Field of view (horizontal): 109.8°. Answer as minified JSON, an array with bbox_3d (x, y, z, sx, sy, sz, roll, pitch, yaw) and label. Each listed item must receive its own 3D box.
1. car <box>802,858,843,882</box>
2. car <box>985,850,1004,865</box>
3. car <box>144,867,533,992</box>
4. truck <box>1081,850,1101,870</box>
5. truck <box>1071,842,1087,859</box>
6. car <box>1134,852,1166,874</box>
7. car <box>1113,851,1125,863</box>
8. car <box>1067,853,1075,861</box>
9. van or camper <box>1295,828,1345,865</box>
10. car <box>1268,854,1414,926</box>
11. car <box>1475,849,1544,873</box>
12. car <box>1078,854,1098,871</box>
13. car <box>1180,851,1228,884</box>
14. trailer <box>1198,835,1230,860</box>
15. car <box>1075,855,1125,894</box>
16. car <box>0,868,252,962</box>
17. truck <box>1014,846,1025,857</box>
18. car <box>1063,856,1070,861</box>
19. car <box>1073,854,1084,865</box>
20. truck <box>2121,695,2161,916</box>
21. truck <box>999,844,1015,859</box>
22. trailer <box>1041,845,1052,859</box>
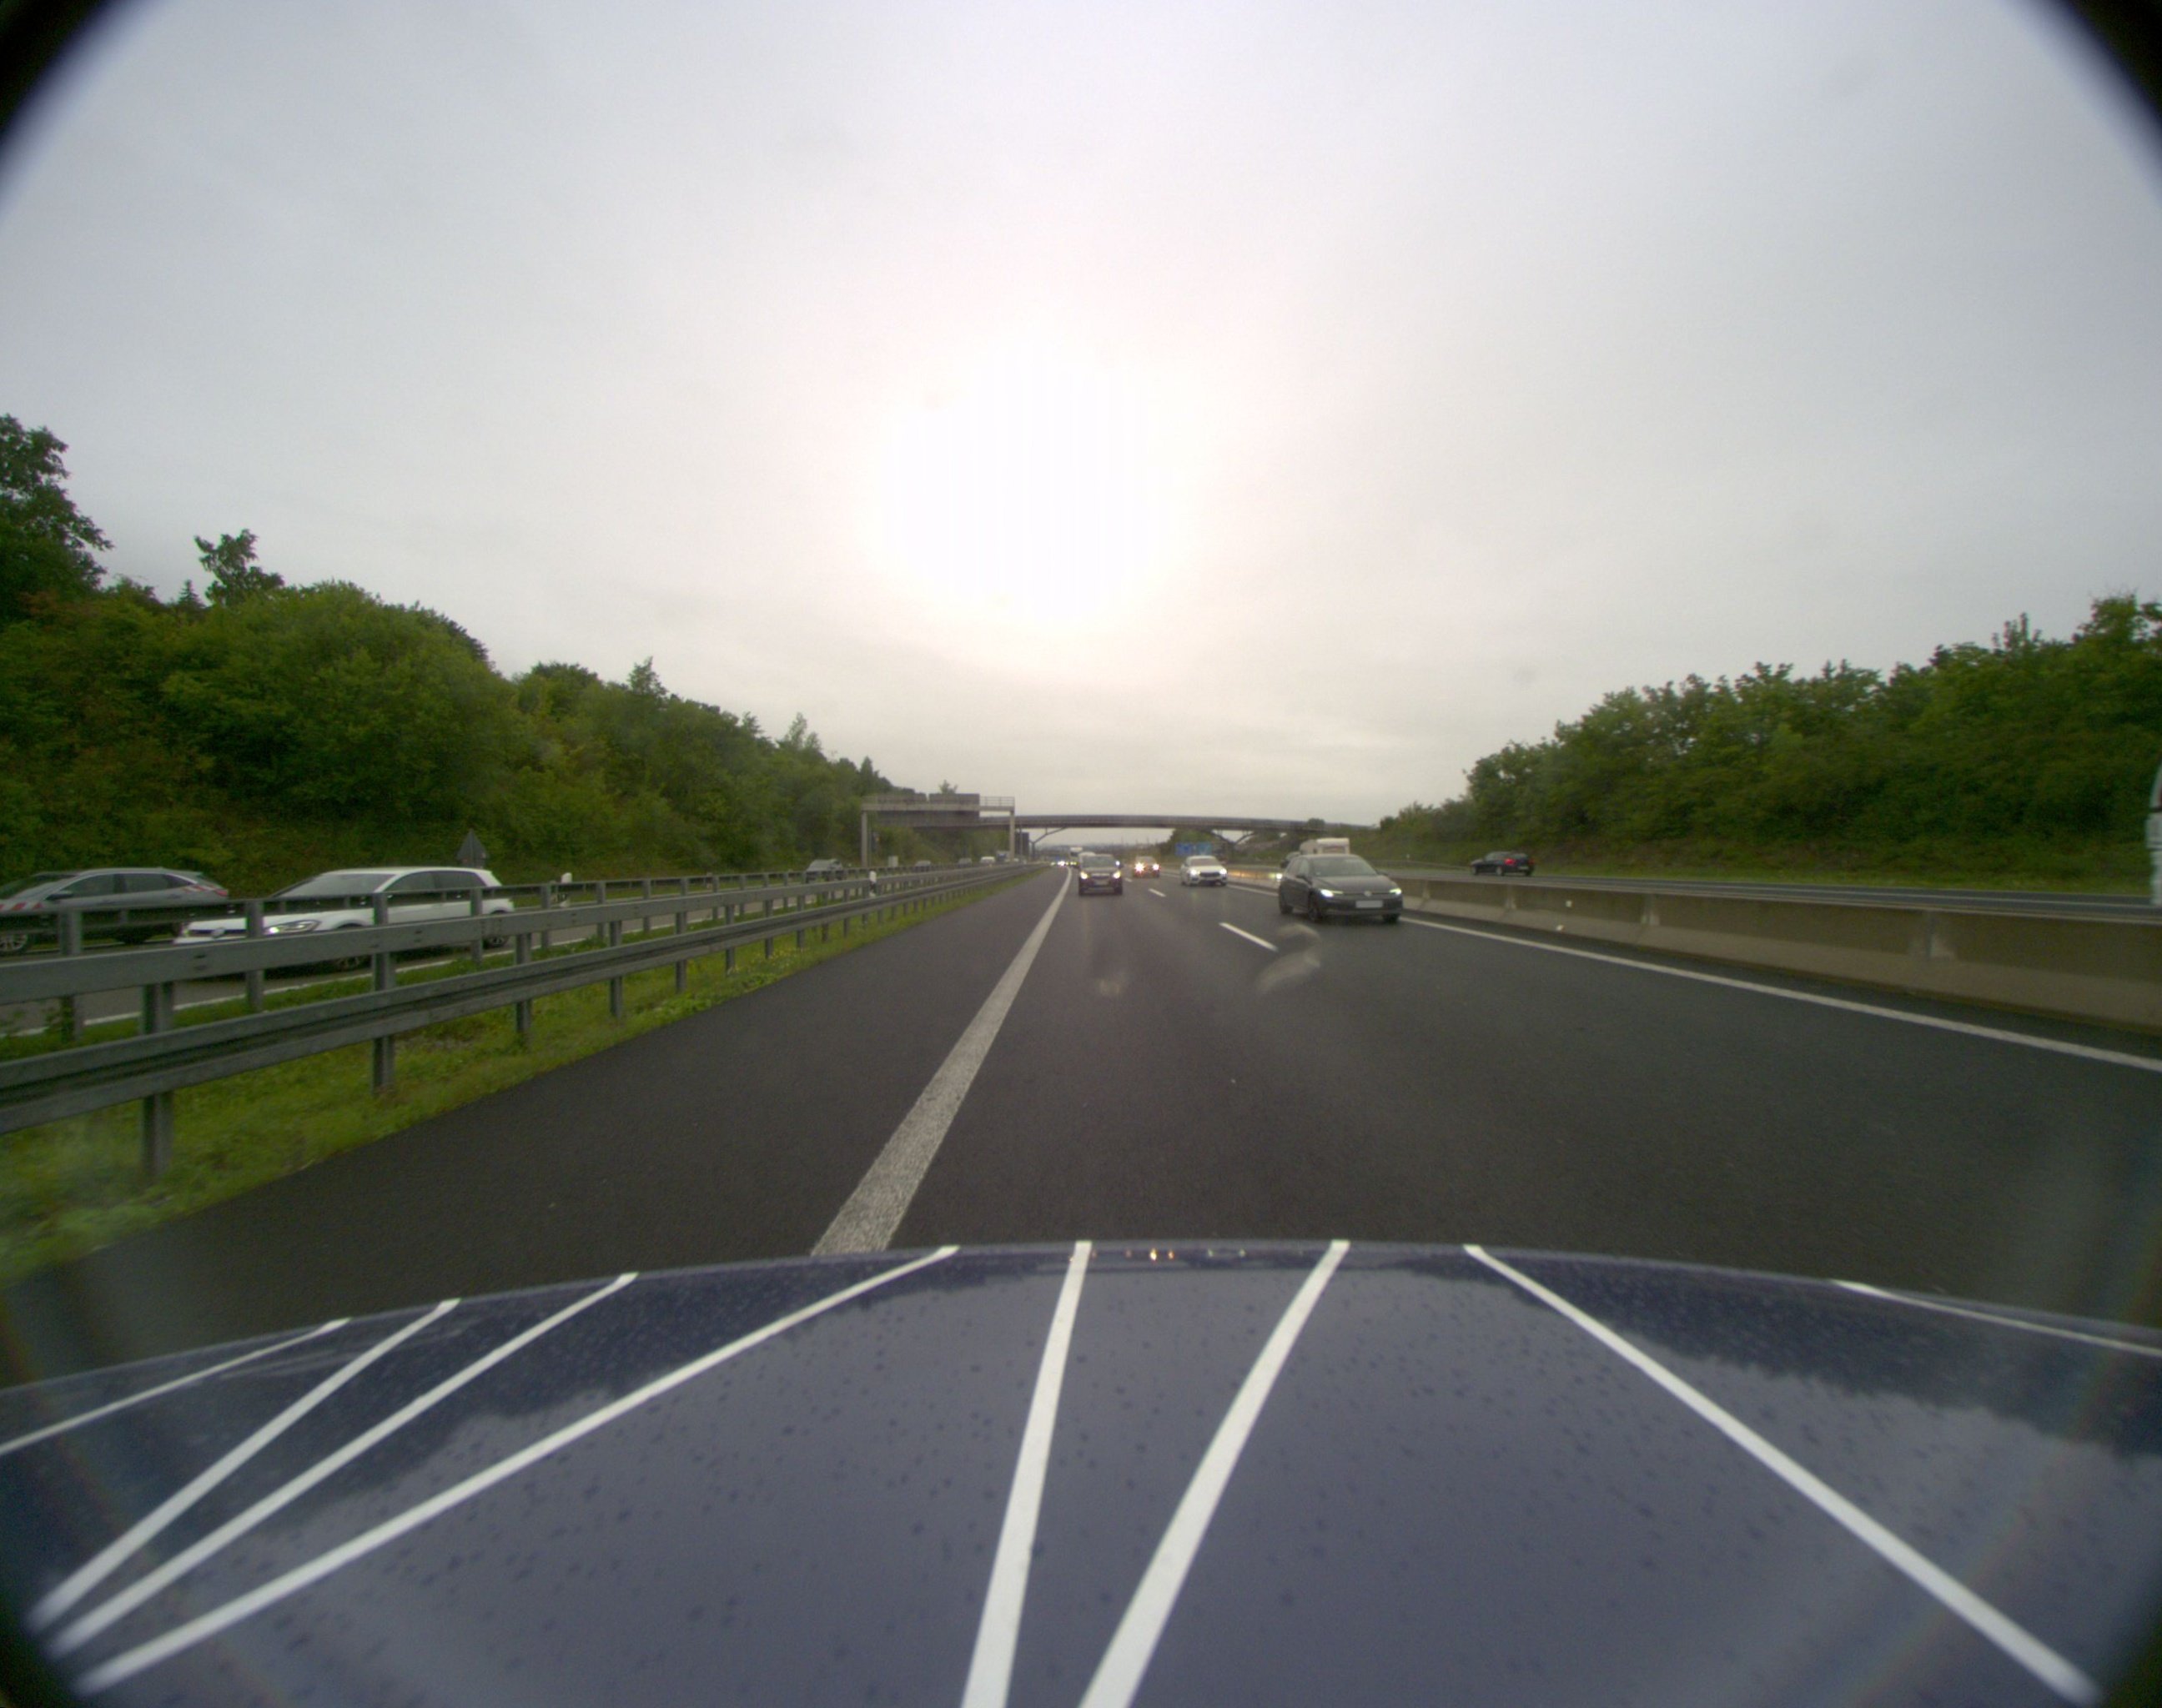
[{"bbox_3d":[-18.531,1.108,54.693,1.865,1.573,4.237,-1,1,-6],"label":"car"},{"bbox_3d":[-11.054,0.411,97.220,1.864,1.795,4.647,-1,1,0],"label":"car"},{"bbox_3d":[-10.940,0.995,11.741,1.864,1.439,4.157,-1,1,0],"label":"car"},{"bbox_3d":[1.071,0.623,86.621,2.175,2.214,5.641,-1,0,0],"label":"truck"},{"bbox_3d":[-0.428,-0.784,160.745,3.153,3.332,13.099,-1,1,0],"label":"truck"},{"bbox_3d":[4.923,0.641,54.662,1.905,1.497,4.113,-1,0,0],"label":"car"},{"bbox_3d":[5.737,0.477,116.278,1.715,1.724,4.000,-1,0,1],"label":"car"},{"bbox_3d":[-2.462,0.737,189.468,1.715,1.724,4.000,-1,0,1],"label":"car"},{"bbox_3d":[16.764,-0.527,53.649,1.799,2.455,5.547,-1,0,0],"label":"van or camper"},{"bbox_3d":[5.748,0.722,17.411,1.905,1.397,4.459,-1,0,2],"label":"car"},{"bbox_3d":[24.344,0.387,43.338,1.693,1.286,3.923,-1,0,0],"label":"car"},{"bbox_3d":[0.758,0.860,79.812,1.825,1.669,4.001,-1,1,3],"label":"car"},{"bbox_3d":[6.007,0.635,37.526,1.905,1.497,4.115,-1,0,3],"label":"car"},{"bbox_3d":[23.086,-1.070,132.654,2.797,4.060,13.523,-1,0,-1],"label":"trailer"},{"bbox_3d":[0.857,0.808,31.838,1.905,1.497,4.115,-1,0,3],"label":"car"},{"bbox_3d":[-20.550,1.177,15.612,1.864,1.605,4.500,-1,1,5],"label":"car"},{"bbox_3d":[-19.870,-0.875,245.702,2.909,3.397,13.350,-1,1,-1],"label":"truck"},{"bbox_3d":[-4.689,1.552,249.090,1.916,1.671,4.000,-1,1,3],"label":"car"},{"bbox_3d":[-0.443,0.954,128.270,1.715,1.724,4.000,-1,0,1],"label":"car"},{"bbox_3d":[21.400,-0.907,10.755,3.268,4.060,7.441,-1,0,1],"label":"truck"},{"bbox_3d":[-17.131,-0.614,176.305,2.909,3.397,9.279,-1,1,-2],"label":"truck"},{"bbox_3d":[-10.065,-0.589,223.646,2.547,3.799,11.329,-1,0,0],"label":"trailer"}]
